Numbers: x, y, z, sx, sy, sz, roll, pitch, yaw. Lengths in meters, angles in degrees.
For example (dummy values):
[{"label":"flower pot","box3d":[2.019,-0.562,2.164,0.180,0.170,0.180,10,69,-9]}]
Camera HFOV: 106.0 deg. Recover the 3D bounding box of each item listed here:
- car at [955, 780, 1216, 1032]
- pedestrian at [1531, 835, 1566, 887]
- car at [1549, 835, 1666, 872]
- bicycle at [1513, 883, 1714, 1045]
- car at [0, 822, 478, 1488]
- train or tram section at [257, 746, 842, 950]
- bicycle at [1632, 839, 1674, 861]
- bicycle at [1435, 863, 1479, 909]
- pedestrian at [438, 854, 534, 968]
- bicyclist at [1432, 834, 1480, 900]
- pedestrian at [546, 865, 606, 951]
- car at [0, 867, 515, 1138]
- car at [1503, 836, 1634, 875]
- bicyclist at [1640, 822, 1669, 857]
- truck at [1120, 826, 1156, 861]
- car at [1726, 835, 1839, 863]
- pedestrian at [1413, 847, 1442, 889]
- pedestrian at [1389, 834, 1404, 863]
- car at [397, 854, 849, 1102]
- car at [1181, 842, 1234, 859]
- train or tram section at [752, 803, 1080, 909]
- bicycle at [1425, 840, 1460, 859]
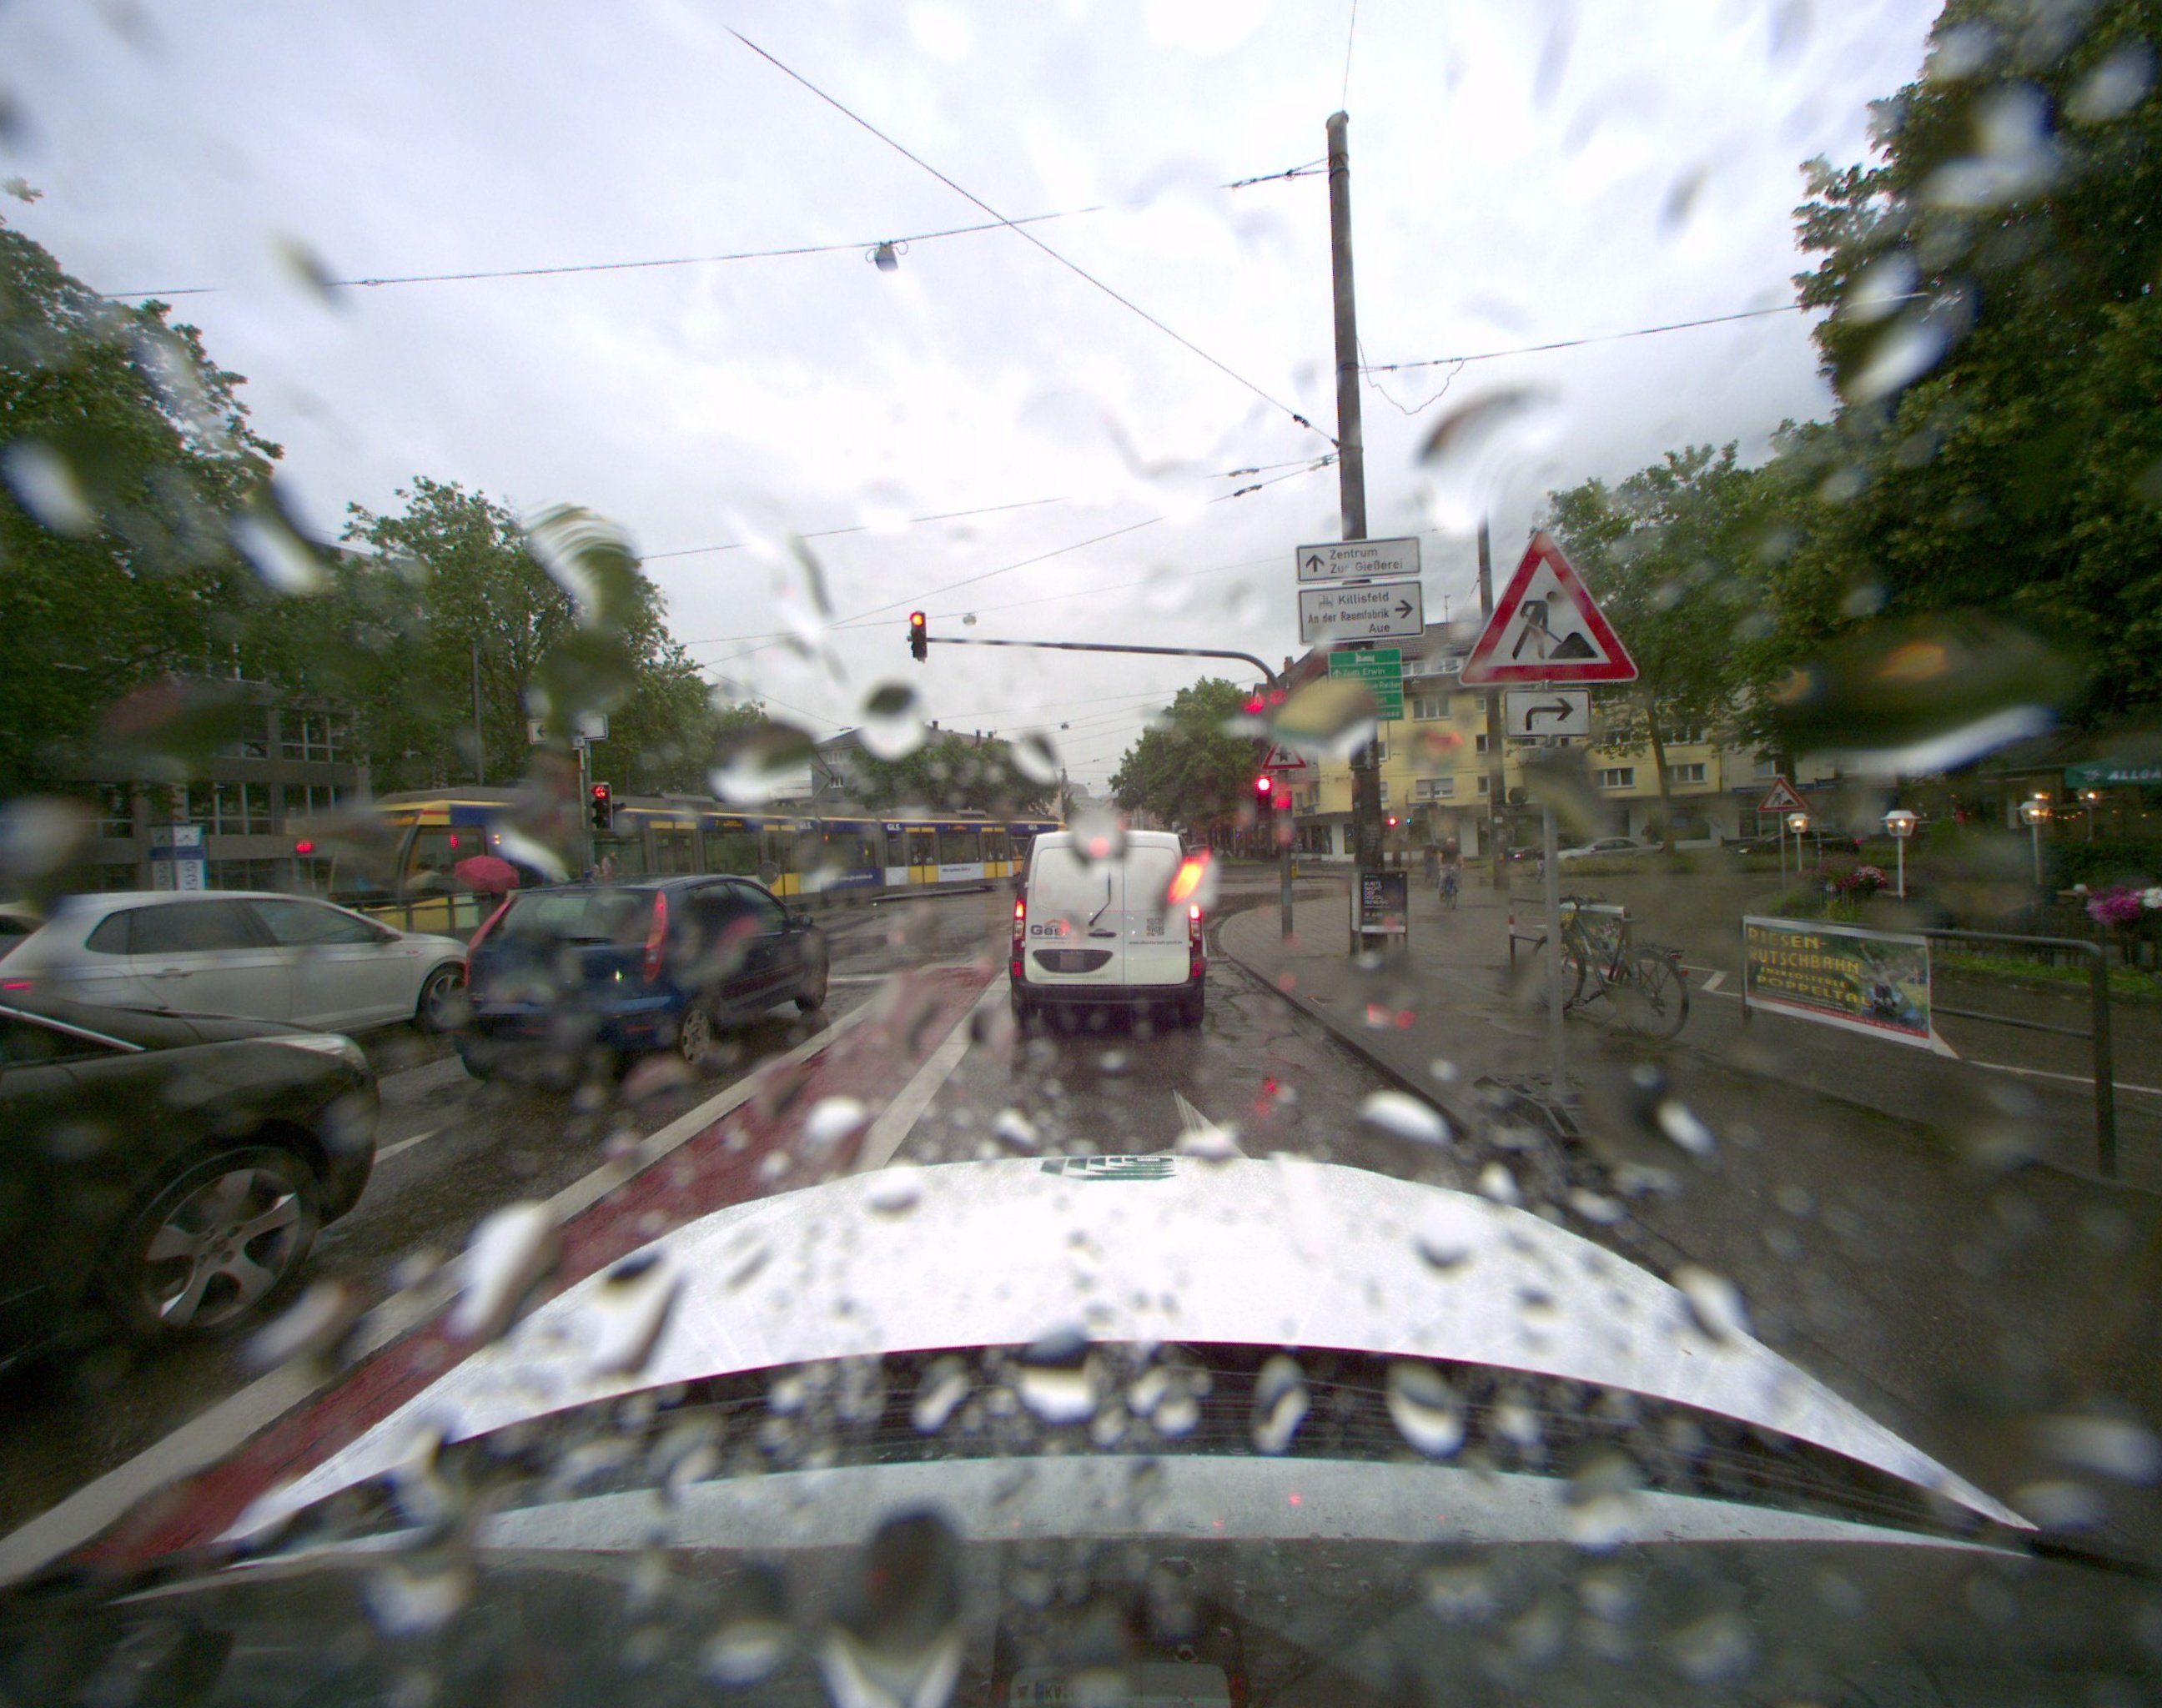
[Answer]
[{"label":"car","box3d":[0.110,0.449,9.172,2.092,2.012,4.965,-2,-1,2]},{"label":"pedestrian","box3d":[15.245,0.232,26.591,0.896,1.669,1.026,-1,0,26]},{"label":"car","box3d":[22.717,-0.027,35.273,3.906,1.490,1.815,-1,1,17]},{"label":"bicycle","box3d":[4.484,0.848,7.048,0.512,1.107,2.018,1,0,3]},{"label":"car","box3d":[-3.650,0.767,1.520,1.827,1.668,4.174,-1,0,2]},{"label":"train or tram section","box3d":[-11.539,-0.083,21.076,3.486,3.512,13.717,0,0,16]},{"label":"bicycle","box3d":[26.531,-0.178,37.783,1.631,1.002,0.422,-1,0,2]},{"label":"bicycle","box3d":[9.290,0.764,20.194,0.456,1.027,1.906,-1,1,9]},{"label":"pedestrian","box3d":[-9.714,0.904,13.335,0.763,1.746,0.899,-4,1,1]},{"label":"bicyclist","box3d":[9.277,0.323,20.182,0.872,1.583,0.863,-1,0,12]},{"label":"pedestrian","box3d":[-9.659,1.015,15.587,0.621,1.607,0.744,-1,0,9]},{"label":"car","box3d":[-6.733,0.886,6.548,1.623,1.494,3.783,-1,0,2]},{"label":"car","box3d":[22.852,0.111,38.375,4.902,1.643,2.007,-1,-3,14]},{"label":"bicyclist","box3d":[26.595,-0.669,37.792,0.810,1.615,0.711,-1,0,2]},{"label":"truck","box3d":[8.787,-1.531,128.497,3.463,5.087,15.284,-1,0,-4]},{"label":"car","box3d":[29.278,-0.206,34.035,3.511,1.082,1.248,-1,0,4]},{"label":"pedestrian","box3d":[12.868,0.510,30.231,0.820,1.534,0.616,-1,-1,-37]},{"label":"pedestrian","box3d":[16.756,-0.282,43.240,0.615,1.500,0.556,-1,-1,28]},{"label":"car","box3d":[-3.516,0.808,7.186,1.720,1.578,3.822,-1,0,2]},{"label":"car","box3d":[10.640,-0.317,68.840,4.160,1.339,1.518,-2,1,-6]},{"label":"train or tram section","box3d":[-5.699,0.062,33.804,3.506,3.413,15.602,0,0,32]},{"label":"bicycle","box3d":[24.324,-0.296,54.861,2.085,1.261,0.534,-1,1,16]}]
